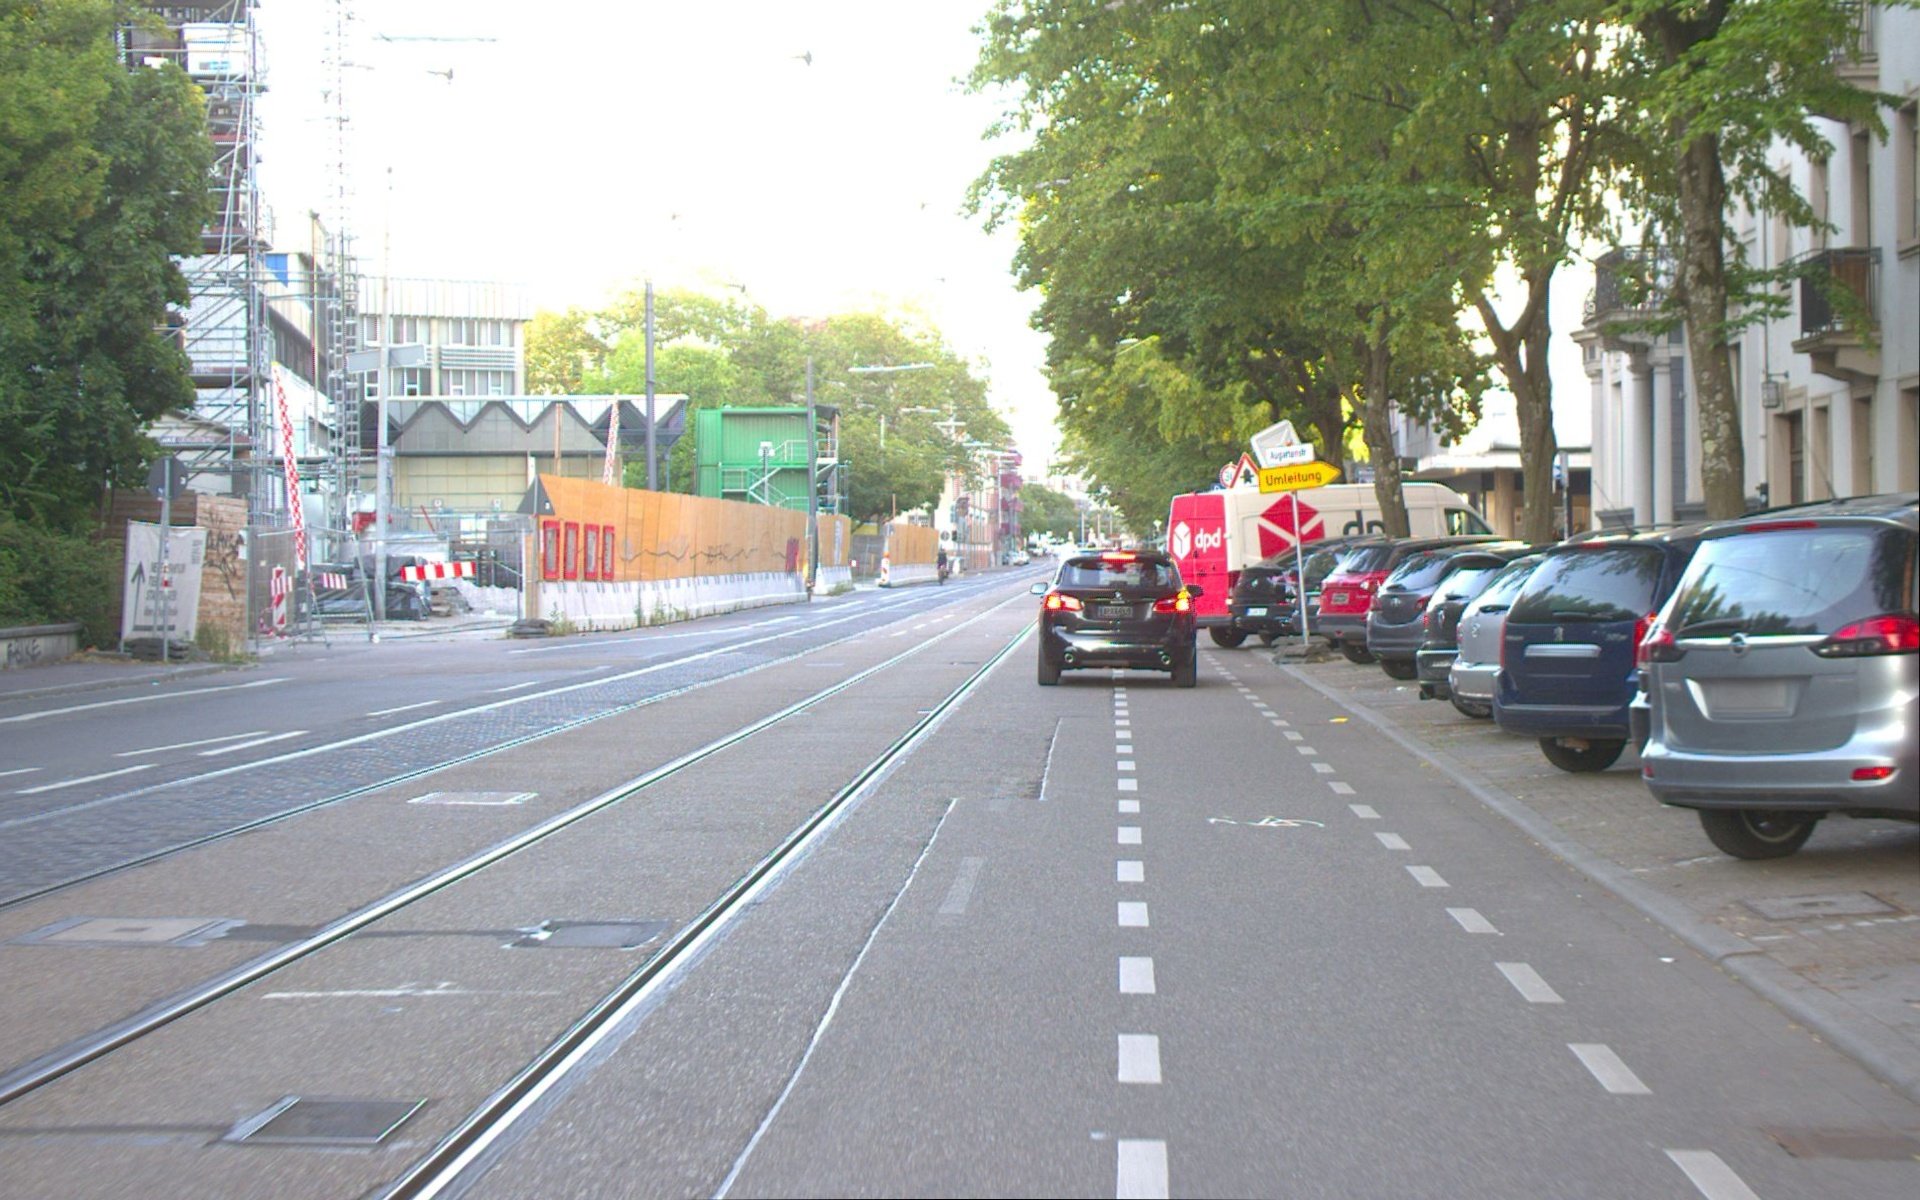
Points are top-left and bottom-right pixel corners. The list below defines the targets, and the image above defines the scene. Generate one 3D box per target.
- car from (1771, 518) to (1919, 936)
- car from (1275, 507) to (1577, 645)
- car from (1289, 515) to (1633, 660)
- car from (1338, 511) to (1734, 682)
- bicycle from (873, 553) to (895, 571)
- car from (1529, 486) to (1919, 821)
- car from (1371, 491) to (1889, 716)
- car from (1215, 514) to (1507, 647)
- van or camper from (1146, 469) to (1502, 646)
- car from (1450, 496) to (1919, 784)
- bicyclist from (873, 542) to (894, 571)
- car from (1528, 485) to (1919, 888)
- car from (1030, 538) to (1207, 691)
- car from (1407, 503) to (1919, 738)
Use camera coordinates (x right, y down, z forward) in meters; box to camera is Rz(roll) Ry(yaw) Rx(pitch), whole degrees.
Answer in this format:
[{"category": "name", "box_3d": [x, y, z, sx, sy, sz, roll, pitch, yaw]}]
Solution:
[{"category": "car", "box_3d": [5.208, 0.354, 13.096, 3.942, 1.472, 1.830, -4, 2, -32]}, {"category": "car", "box_3d": [6.884, -0.351, 50.801, 3.941, 1.759, 1.841, -4, 1, -24]}, {"category": "car", "box_3d": [6.489, -0.161, 44.556, 3.941, 1.598, 1.841, -4, 1, -24]}, {"category": "car", "box_3d": [6.379, -0.042, 38.044, 3.942, 1.598, 1.840, -4, 1, -29]}, {"category": "bicycle", "box_3d": [-3.530, -1.763, 159.302, 0.948, 0.846, 2.697, -1, 1, 0]}, {"category": "car", "box_3d": [5.377, 0.181, 19.358, 3.942, 1.598, 1.747, -6, 2, -29]}, {"category": "car", "box_3d": [5.658, 0.017, 28.983, 3.942, 1.598, 1.840, -4, 1, -29]}, {"category": "car", "box_3d": [6.140, -0.300, 52.668, 3.941, 1.759, 1.841, -4, 1, -24]}, {"category": "van or camper", "box_3d": [5.995, -0.707, 56.326, 5.532, 2.522, 2.086, -4, 1, -32]}, {"category": "car", "box_3d": [5.311, 0.190, 21.922, 3.942, 1.598, 1.840, -4, 1, -29]}, {"category": "bicyclist", "box_3d": [-3.524, -2.016, 158.515, 0.944, 1.341, 1.111, -1, 1, 0]}, {"category": "car", "box_3d": [4.791, 0.285, 16.178, 3.943, 1.663, 1.901, -4, 1, -37]}, {"category": "car", "box_3d": [1.809, 0.132, 39.683, 1.882, 1.614, 4.000, 2, 1, 2]}, {"category": "car", "box_3d": [5.618, 0.136, 26.499, 3.942, 1.598, 1.840, -3, 0, -31]}]
